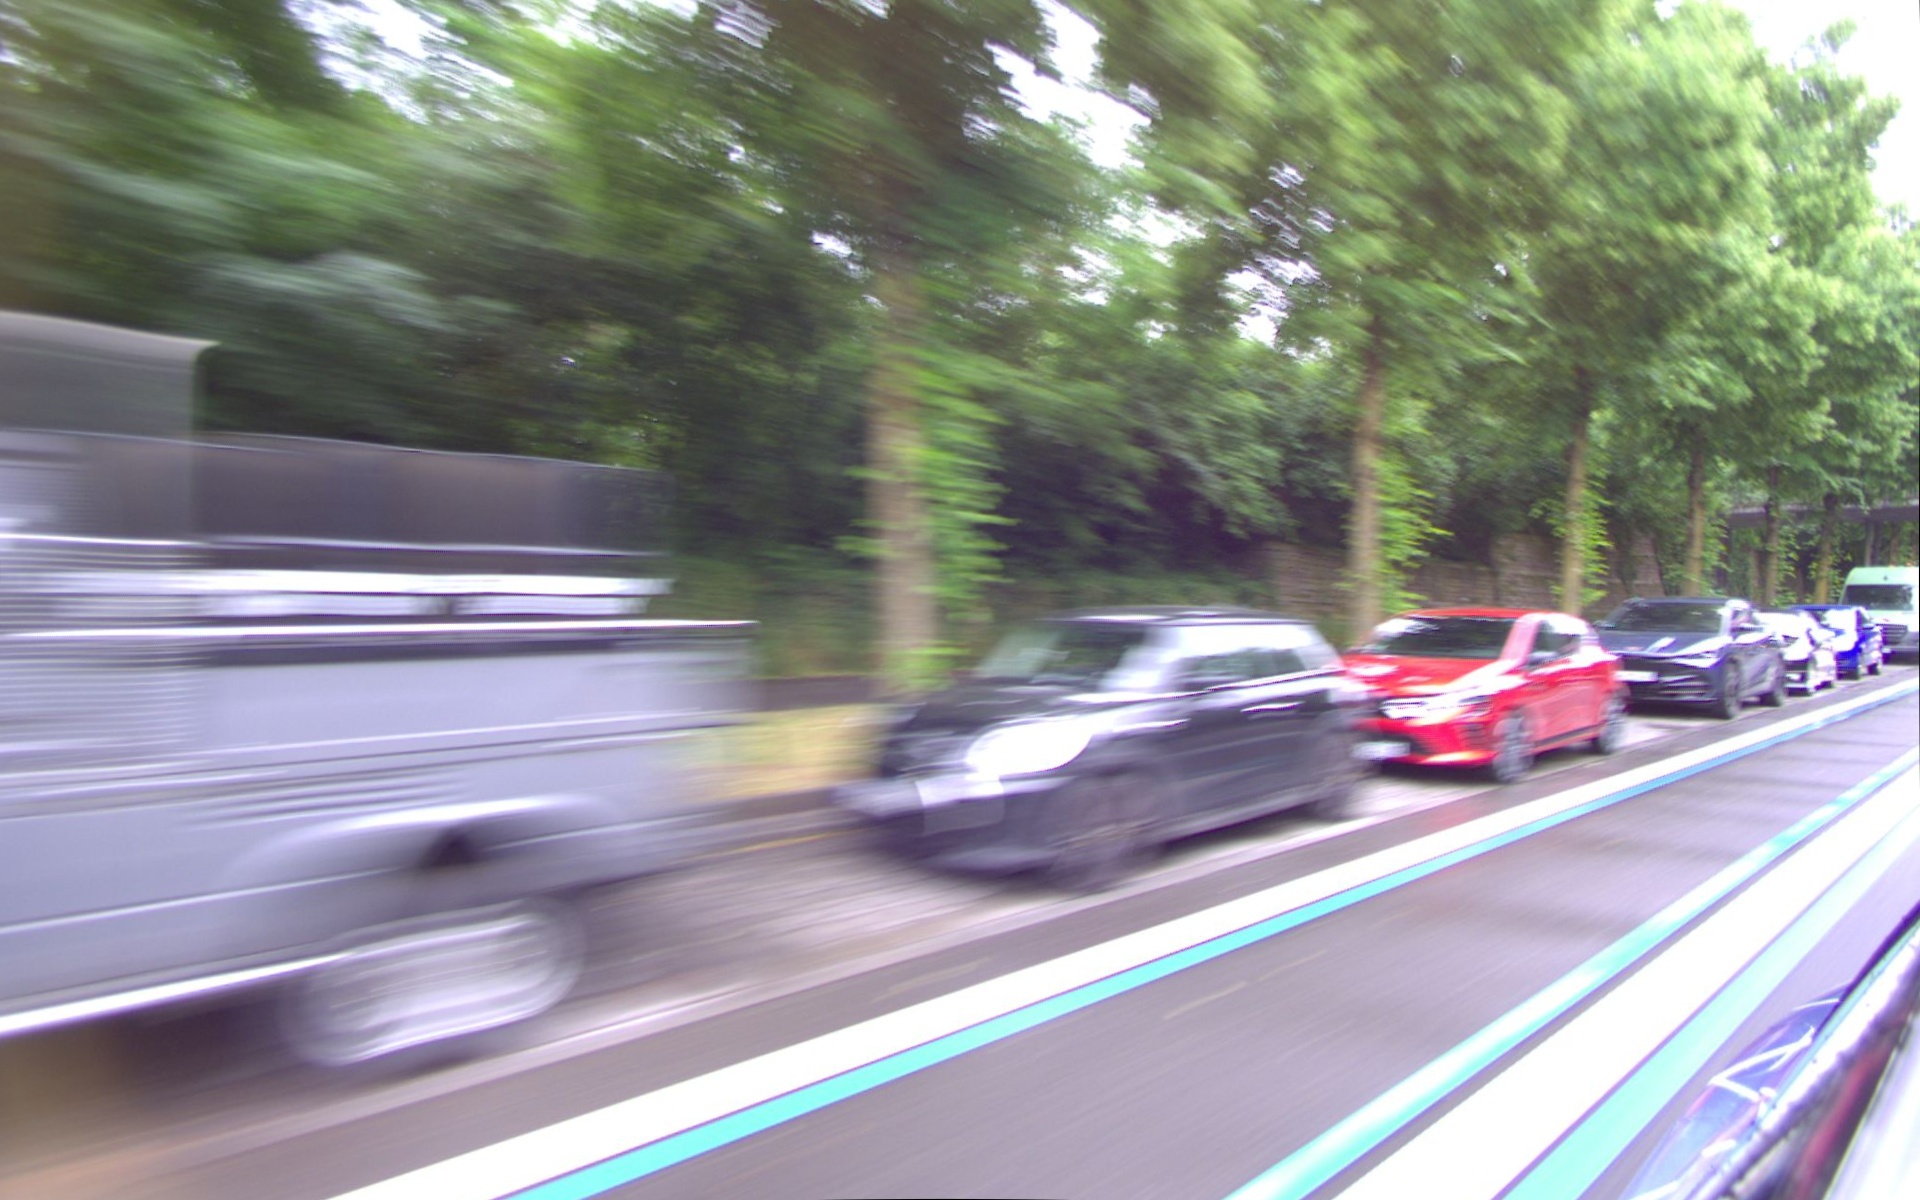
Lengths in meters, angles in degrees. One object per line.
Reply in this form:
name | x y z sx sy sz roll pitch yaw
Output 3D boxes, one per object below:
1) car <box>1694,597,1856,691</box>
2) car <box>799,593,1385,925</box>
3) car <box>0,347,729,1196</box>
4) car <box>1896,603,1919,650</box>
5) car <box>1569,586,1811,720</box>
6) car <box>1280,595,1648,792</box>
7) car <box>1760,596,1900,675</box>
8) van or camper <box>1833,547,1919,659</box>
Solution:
car | 14.570 0.703 18.010 4.076 1.474 1.687 0 -1 -43
car | 0.994 0.713 6.318 3.681 1.471 1.608 0 -1 -41
car | -3.214 0.397 2.947 4.579 2.047 1.931 0 0 -39
car | 31.666 0.829 32.605 4.026 1.434 1.690 0 0 -39
car | 10.448 0.650 14.359 4.418 1.610 1.759 0 -1 -40
car | 4.892 0.705 9.563 4.092 1.471 1.688 0 -1 -41
car | 18.623 0.703 21.618 3.767 1.533 1.689 0 -1 -40
van or camper | 25.948 0.086 27.778 6.780 2.764 2.045 0 -1 -41
